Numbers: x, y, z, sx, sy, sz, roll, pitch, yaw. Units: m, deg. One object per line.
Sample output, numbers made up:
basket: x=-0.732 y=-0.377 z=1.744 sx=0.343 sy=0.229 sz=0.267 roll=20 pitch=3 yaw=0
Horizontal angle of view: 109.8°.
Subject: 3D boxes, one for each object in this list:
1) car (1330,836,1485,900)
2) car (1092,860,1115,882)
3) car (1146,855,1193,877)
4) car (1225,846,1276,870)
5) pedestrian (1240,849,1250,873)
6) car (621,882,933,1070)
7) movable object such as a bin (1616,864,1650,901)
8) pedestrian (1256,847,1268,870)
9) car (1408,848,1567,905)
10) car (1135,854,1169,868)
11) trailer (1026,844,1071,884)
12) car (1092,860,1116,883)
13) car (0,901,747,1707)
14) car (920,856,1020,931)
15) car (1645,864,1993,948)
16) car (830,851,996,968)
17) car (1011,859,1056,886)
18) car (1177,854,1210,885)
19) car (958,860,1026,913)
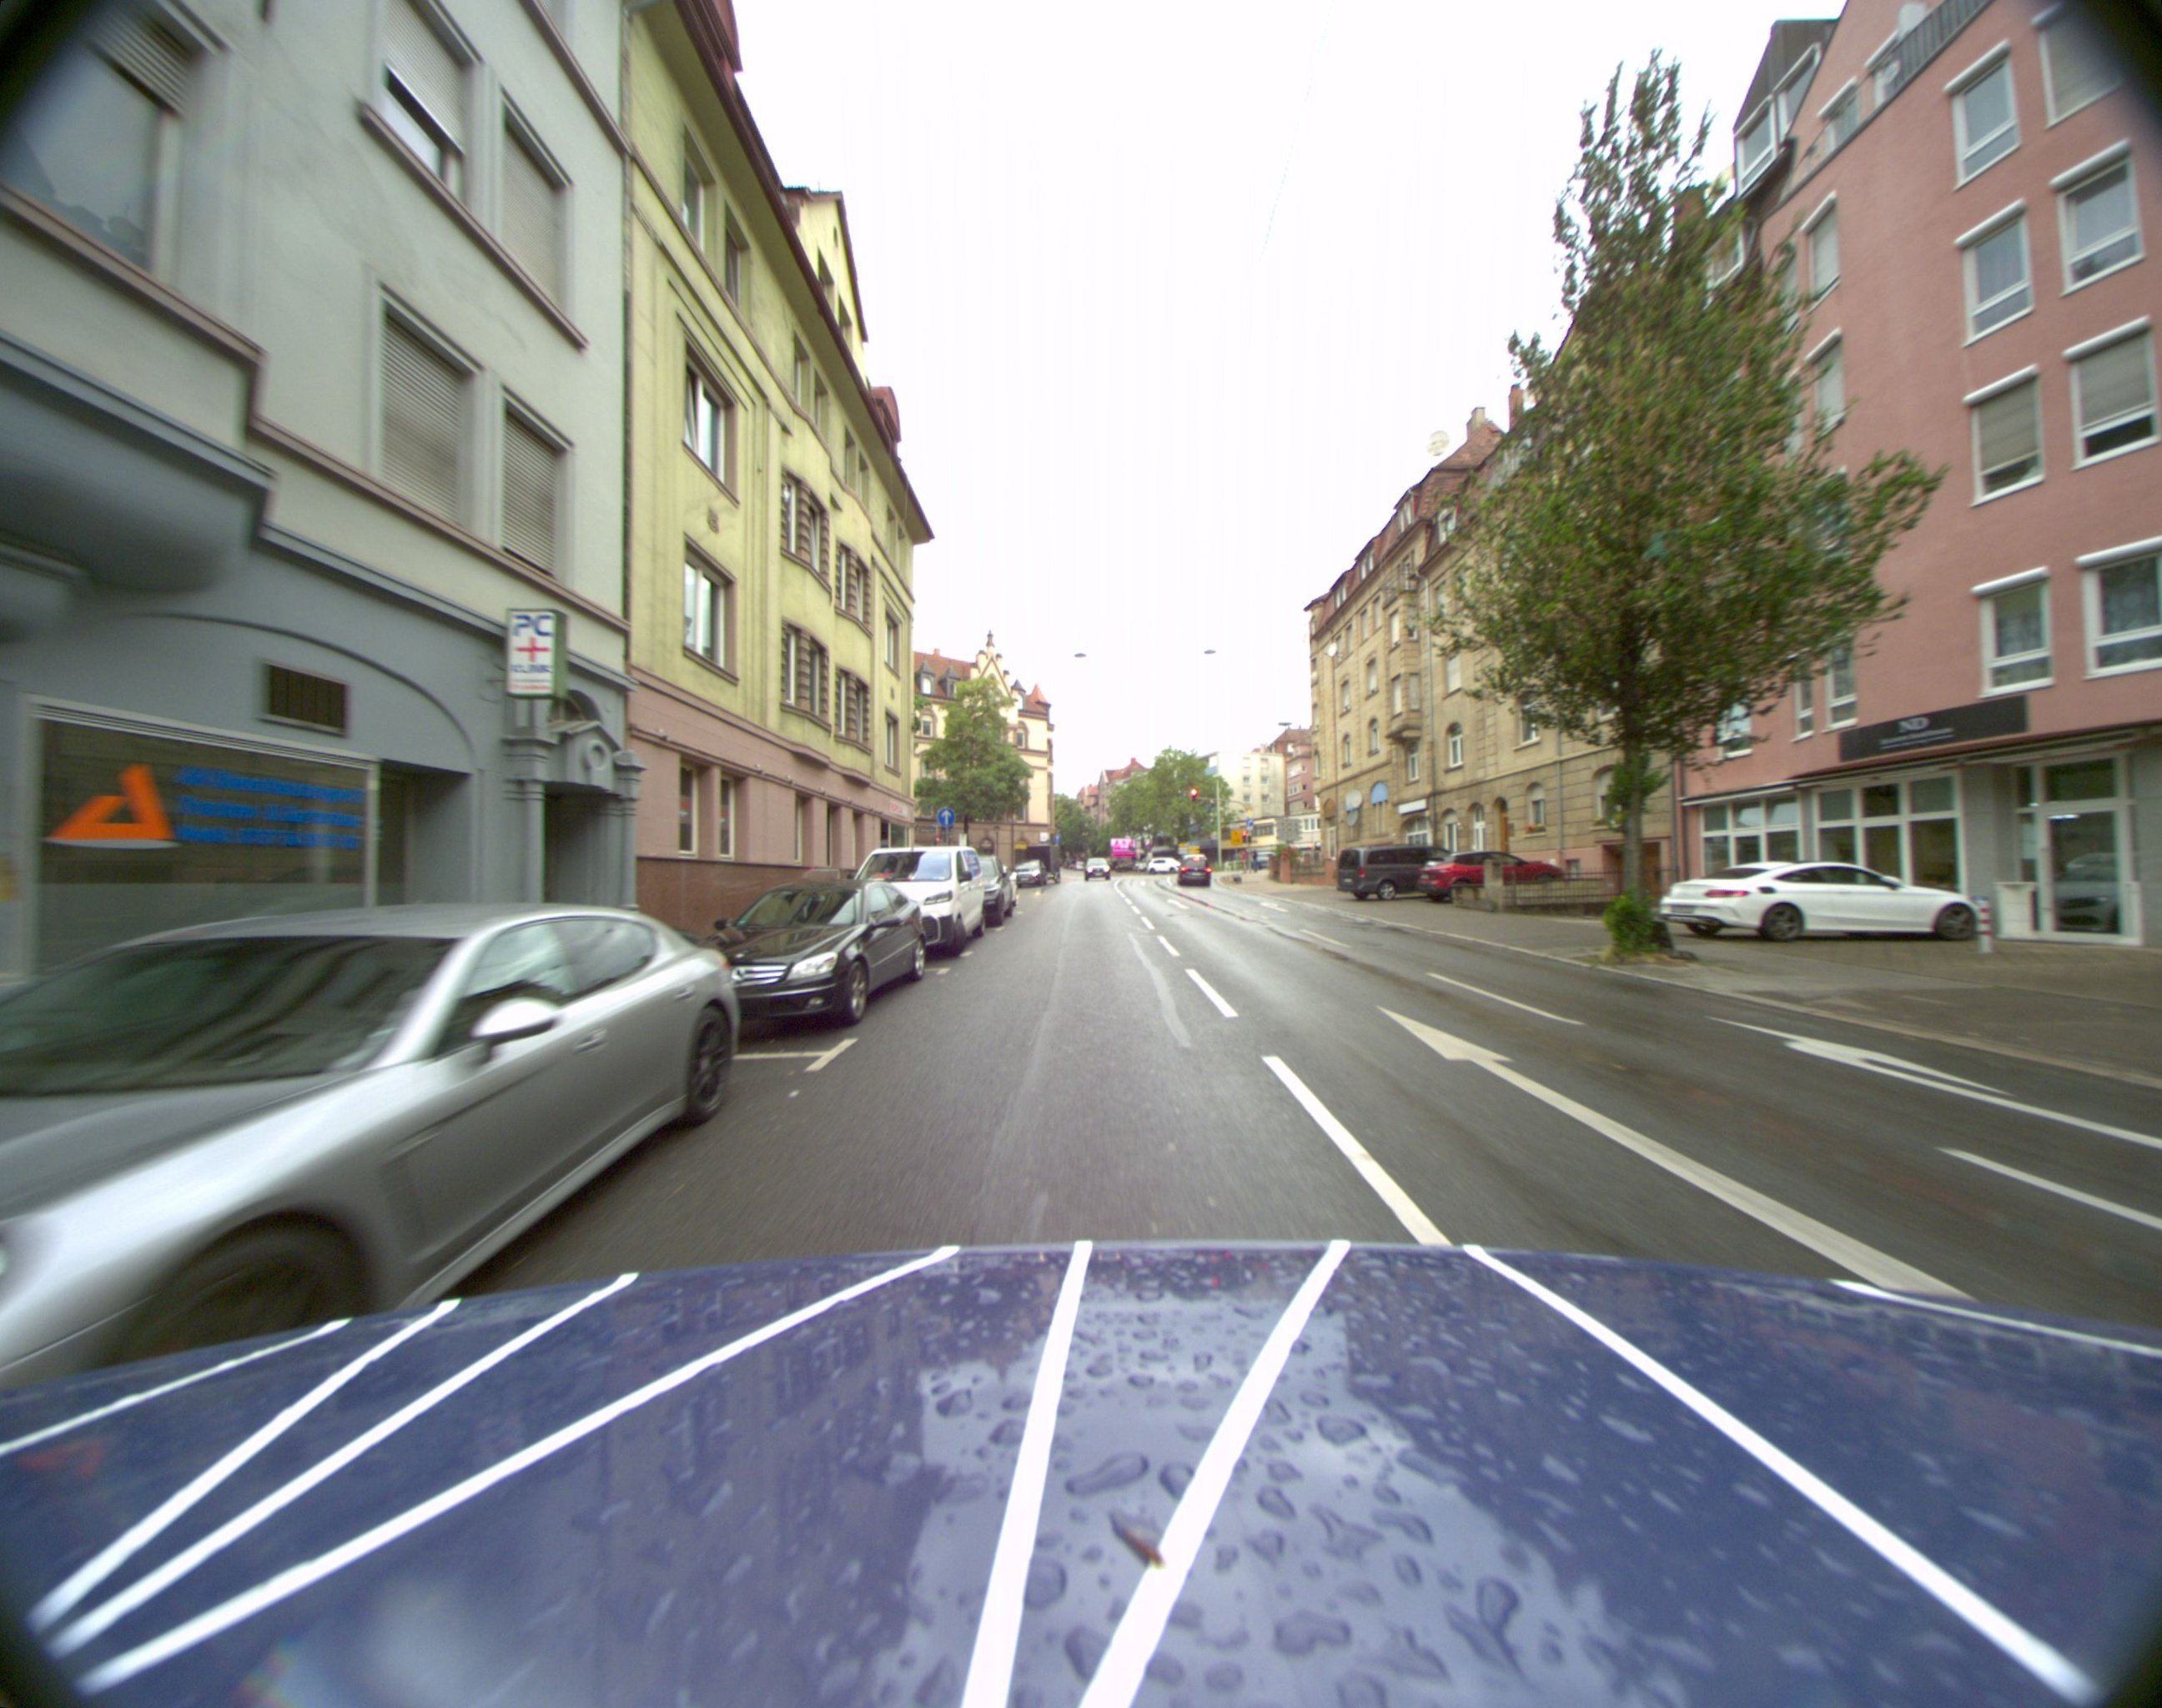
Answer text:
car: x=11.537 y=0.492 z=26.974 sx=4.689 sy=1.927 sz=1.862 roll=-3 pitch=0 yaw=-9
car: x=1.693 y=1.285 z=59.109 sx=1.648 sy=1.594 sz=3.809 roll=-1 pitch=0 yaw=0
car: x=8.818 y=1.241 z=75.977 sx=1.920 sy=2.002 sz=4.444 roll=-3 pitch=0 yaw=-43
car: x=15.794 y=0.370 z=71.008 sx=4.502 sy=2.002 sz=1.918 roll=-3 pitch=0 yaw=13
pedestrian: x=11.961 y=0.506 z=55.372 sx=0.523 sy=1.763 sz=0.694 roll=-3 pitch=0 yaw=7
car: x=-2.973 y=1.108 z=8.528 sx=1.681 sy=1.367 sz=4.276 roll=-2 pitch=0 yaw=1
movable object such as a bin: x=15.447 y=0.801 z=21.265 sx=0.533 sy=0.991 sz=0.550 roll=-3 pitch=0 yaw=6
pedestrian: x=13.483 y=0.346 z=56.736 sx=0.638 sy=1.692 sz=0.829 roll=-3 pitch=0 yaw=3
car: x=13.124 y=0.698 z=24.734 sx=4.107 sy=1.581 sz=1.897 roll=-3 pitch=1 yaw=0
car: x=10.970 y=1.059 z=117.851 sx=4.983 sy=1.966 sz=1.876 roll=-3 pitch=1 yaw=-28
trailer: x=-2.192 y=0.642 z=52.908 sx=1.936 sy=2.621 sz=4.688 roll=-1 pitch=0 yaw=13
car: x=1.629 y=1.223 z=54.144 sx=1.648 sy=1.594 sz=3.668 roll=-1 pitch=0 yaw=2
car: x=-3.106 y=1.106 z=2.889 sx=1.881 sy=1.459 sz=4.772 roll=-2 pitch=0 yaw=-5
car: x=-2.747 y=0.919 z=19.910 sx=1.883 sy=1.721 sz=4.676 roll=0 pitch=0 yaw=1
car: x=13.129 y=0.890 z=13.728 sx=4.559 sy=1.393 sz=1.768 roll=0 pitch=0 yaw=0
car: x=-2.884 y=0.860 z=14.267 sx=1.924 sy=1.816 sz=5.009 roll=0 pitch=0 yaw=1
car: x=-2.876 y=1.106 z=46.530 sx=1.861 sy=1.503 sz=3.685 roll=-1 pitch=0 yaw=10
car: x=6.461 y=0.842 z=43.883 sx=1.624 sy=1.639 sz=4.422 roll=2 pitch=0 yaw=6
car: x=-3.010 y=1.056 z=26.549 sx=1.803 sy=1.555 sz=4.492 roll=-3 pitch=0 yaw=0
